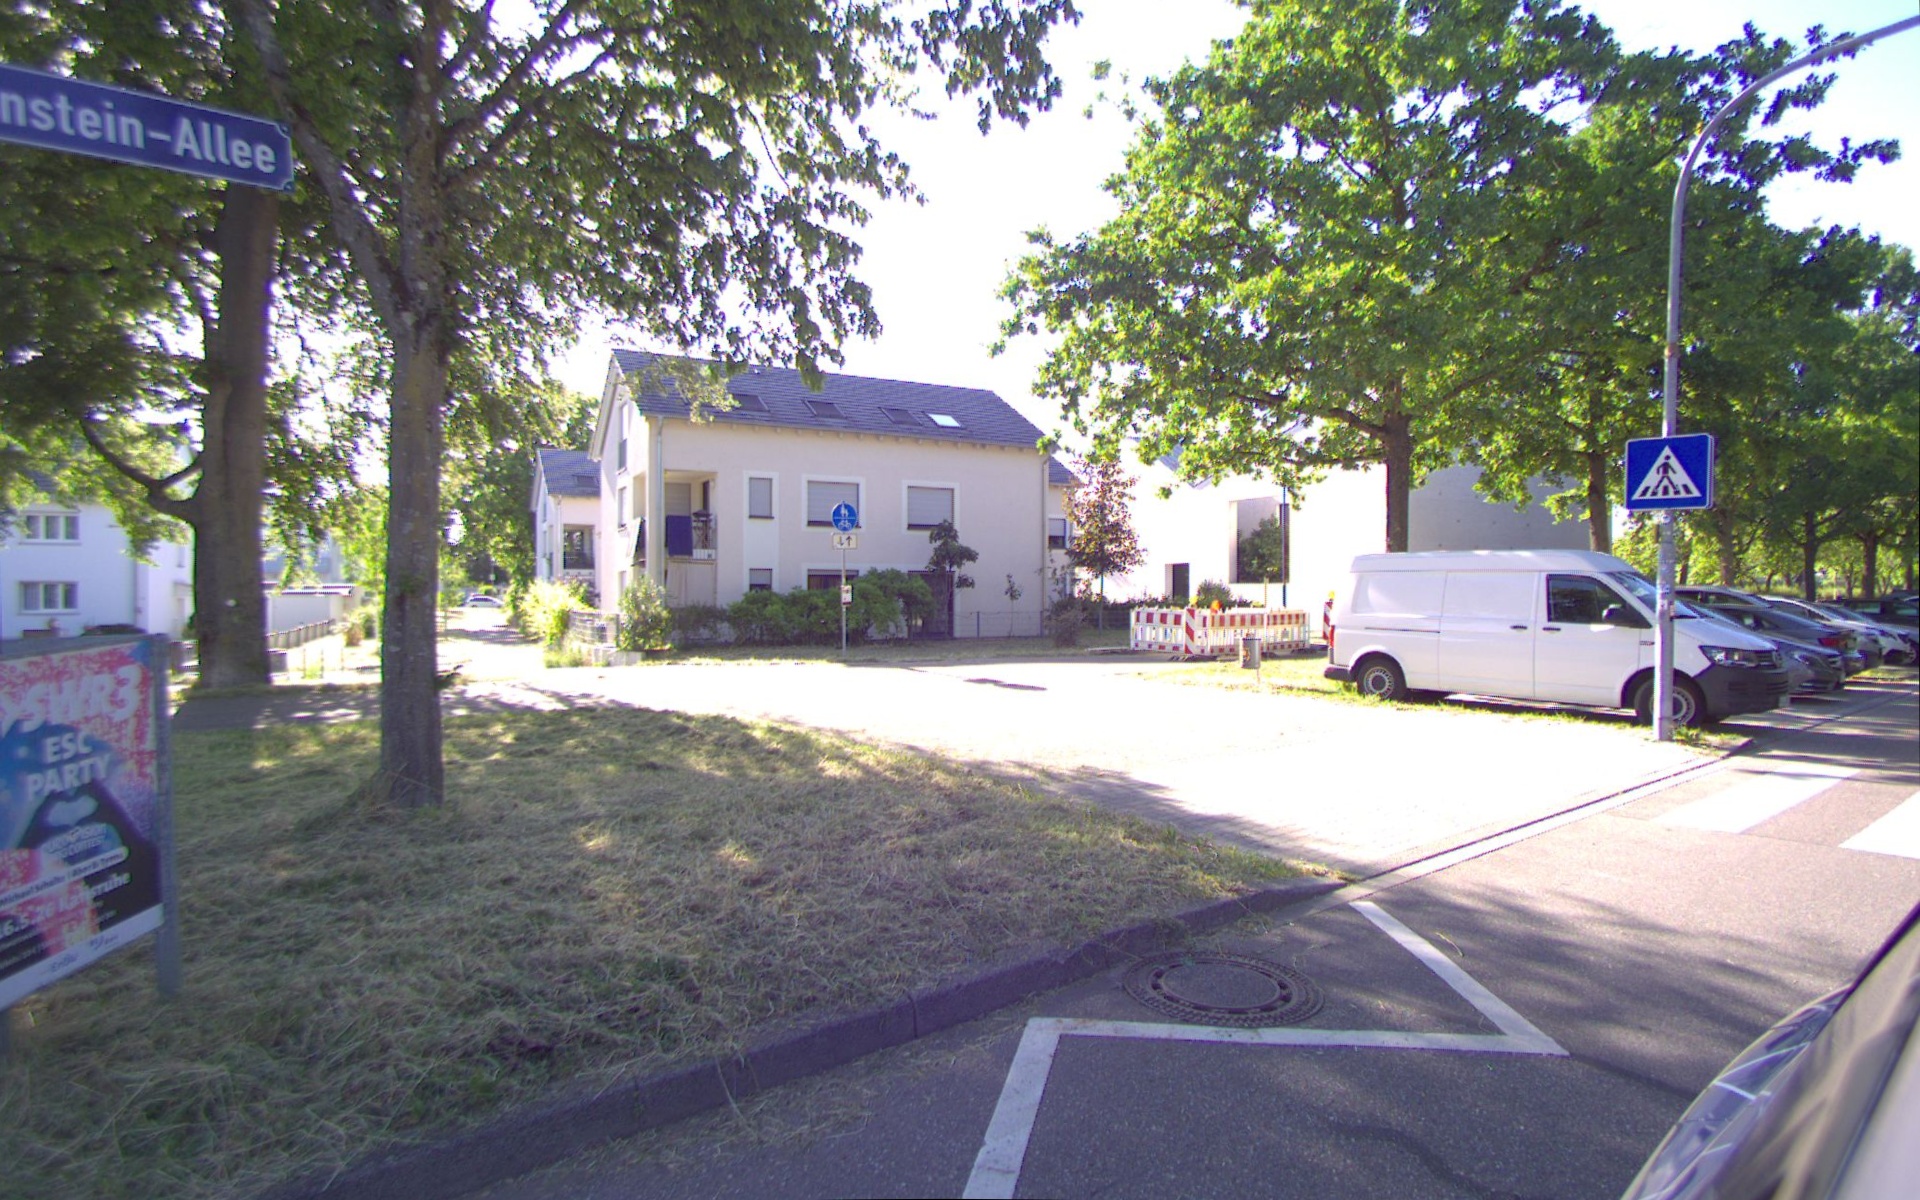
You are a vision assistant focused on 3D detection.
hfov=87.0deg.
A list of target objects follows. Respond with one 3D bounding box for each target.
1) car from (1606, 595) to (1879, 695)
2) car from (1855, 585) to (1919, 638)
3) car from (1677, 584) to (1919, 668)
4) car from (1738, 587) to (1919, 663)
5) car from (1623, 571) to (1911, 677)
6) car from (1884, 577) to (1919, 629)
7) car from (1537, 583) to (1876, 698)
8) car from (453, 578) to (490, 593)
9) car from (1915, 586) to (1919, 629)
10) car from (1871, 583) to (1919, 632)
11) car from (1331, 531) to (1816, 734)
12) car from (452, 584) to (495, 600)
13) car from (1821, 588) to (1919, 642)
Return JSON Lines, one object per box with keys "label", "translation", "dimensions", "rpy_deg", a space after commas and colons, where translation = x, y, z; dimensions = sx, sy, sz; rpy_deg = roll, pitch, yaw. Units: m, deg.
{"label": "car", "translation": [13.532, 0.706, 17.676], "dimensions": [1.421, 1.561, 3.517], "rpy_deg": [0, 0, -37]}
{"label": "car", "translation": [32.682, 0.380, 33.479], "dimensions": [1.504, 1.765, 4.396], "rpy_deg": [0, 0, -36]}
{"label": "car", "translation": [18.610, 0.535, 22.567], "dimensions": [1.504, 1.700, 4.021], "rpy_deg": [0, 0, -36]}
{"label": "car", "translation": [21.182, 0.559, 24.049], "dimensions": [1.504, 1.681, 4.021], "rpy_deg": [0, 0, -36]}
{"label": "car", "translation": [15.335, 0.419, 19.431], "dimensions": [1.681, 1.816, 4.021], "rpy_deg": [0, 0, -37]}
{"label": "car", "translation": [38.119, 0.101, 38.319], "dimensions": [1.504, 2.013, 4.396], "rpy_deg": [0, 0, -36]}
{"label": "car", "translation": [11.687, 0.567, 16.092], "dimensions": [1.725, 1.583, 3.998], "rpy_deg": [0, 0, -37]}
{"label": "car", "translation": [-67.782, -2.033, 140.444], "dimensions": [4.524, 2.039, 2.003], "rpy_deg": [0, 0, -23]}
{"label": "car", "translation": [41.354, 0.310, 40.467], "dimensions": [1.504, 1.765, 4.396], "rpy_deg": [0, 0, -36]}
{"label": "car", "translation": [35.610, 0.265, 36.129], "dimensions": [1.504, 1.765, 4.396], "rpy_deg": [0, 0, -36]}
{"label": "car", "translation": [7.596, 0.294, 13.076], "dimensions": [1.856, 2.107, 5.045], "rpy_deg": [0, 1, -39]}
{"label": "car", "translation": [-62.403, -1.061, 129.800], "dimensions": [4.542, 2.039, 1.996], "rpy_deg": [0, 0, -43]}
{"label": "car", "translation": [30.149, 0.455, 31.886], "dimensions": [1.504, 1.662, 4.396], "rpy_deg": [0, 0, -36]}
